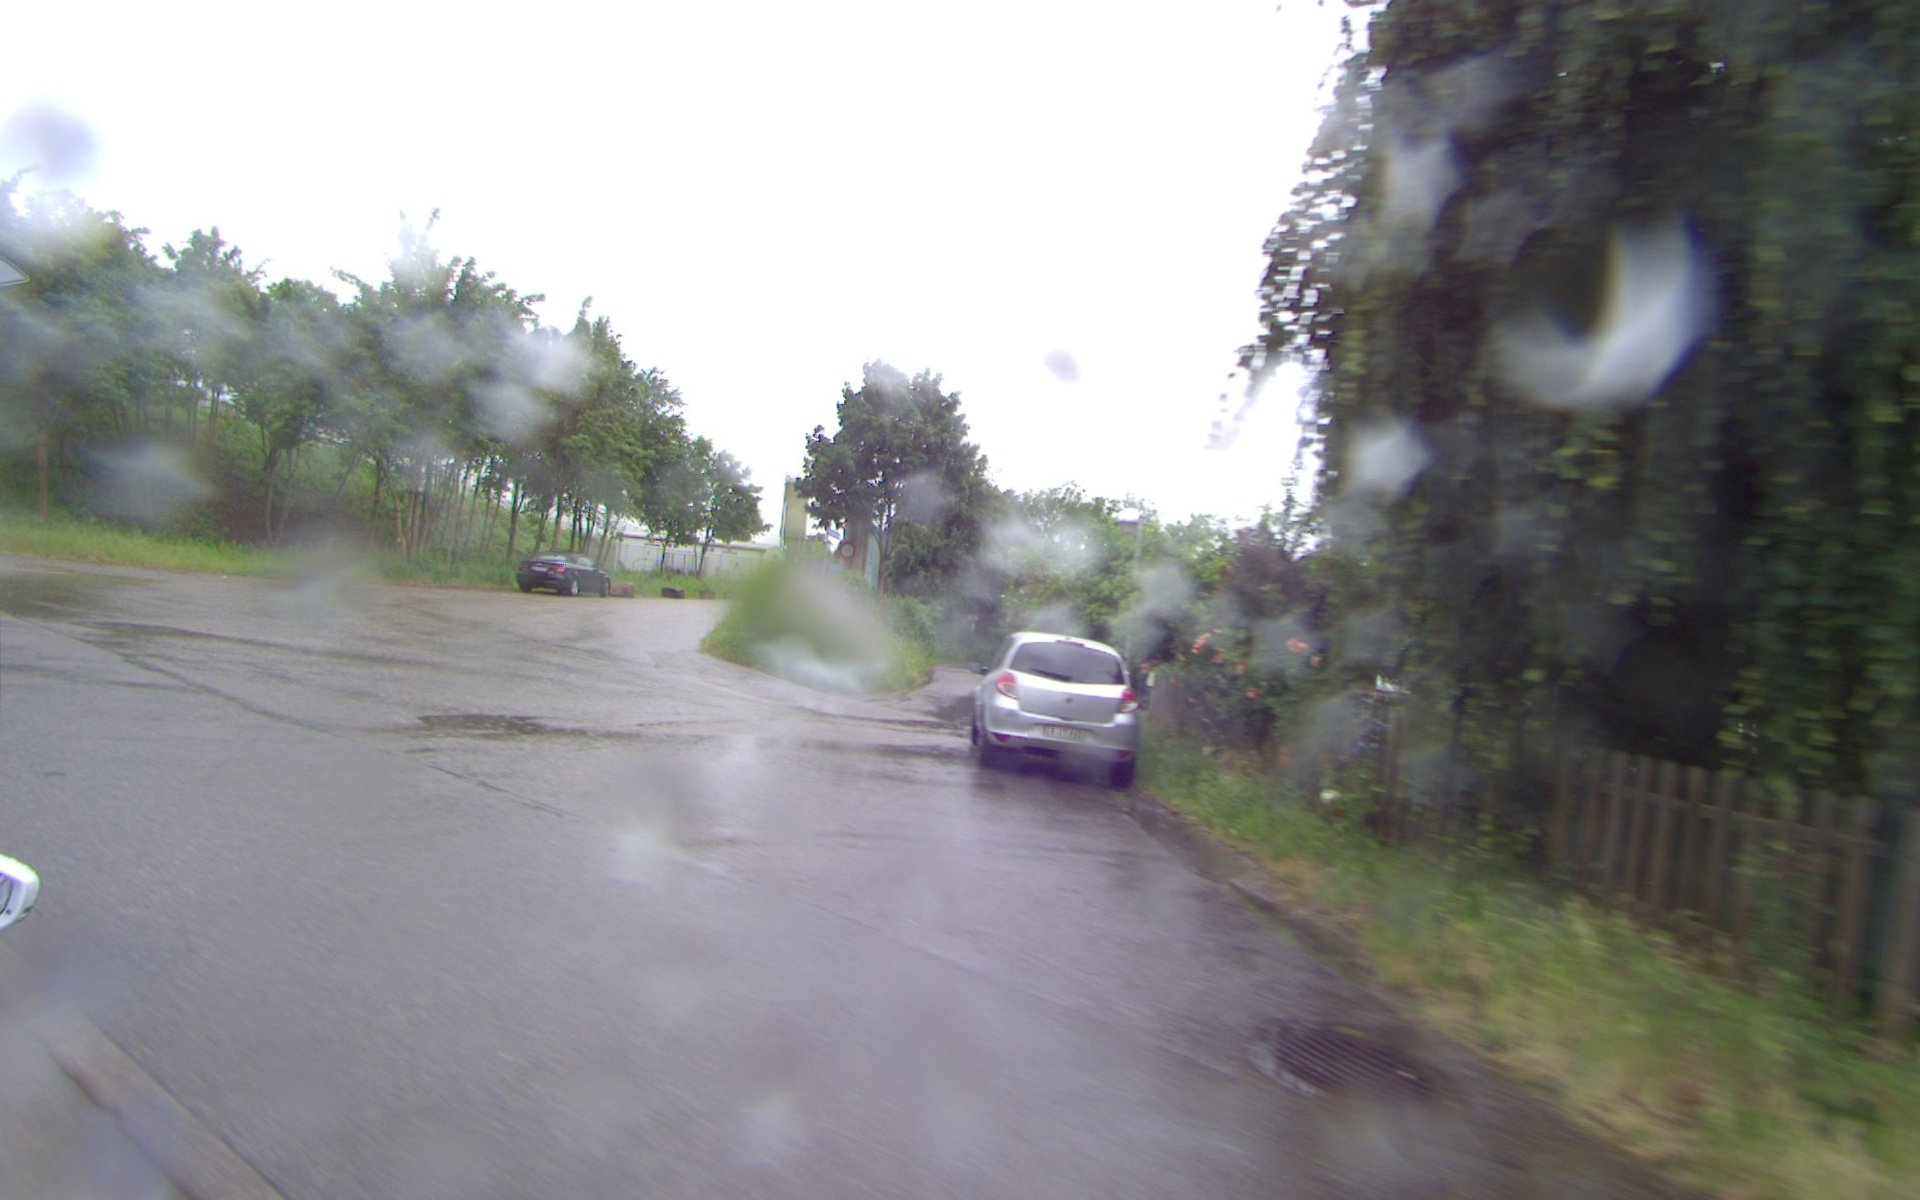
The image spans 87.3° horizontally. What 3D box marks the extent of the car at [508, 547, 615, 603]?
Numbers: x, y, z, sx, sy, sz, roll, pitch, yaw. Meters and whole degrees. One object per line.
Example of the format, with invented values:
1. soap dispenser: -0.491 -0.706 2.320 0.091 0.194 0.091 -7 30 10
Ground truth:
1. car: -13.075 -0.769 33.274 1.870 1.375 4.112 7 -2 -2

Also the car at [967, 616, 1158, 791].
1. car: 1.046 1.105 12.052 1.688 1.549 3.858 7 -2 0
